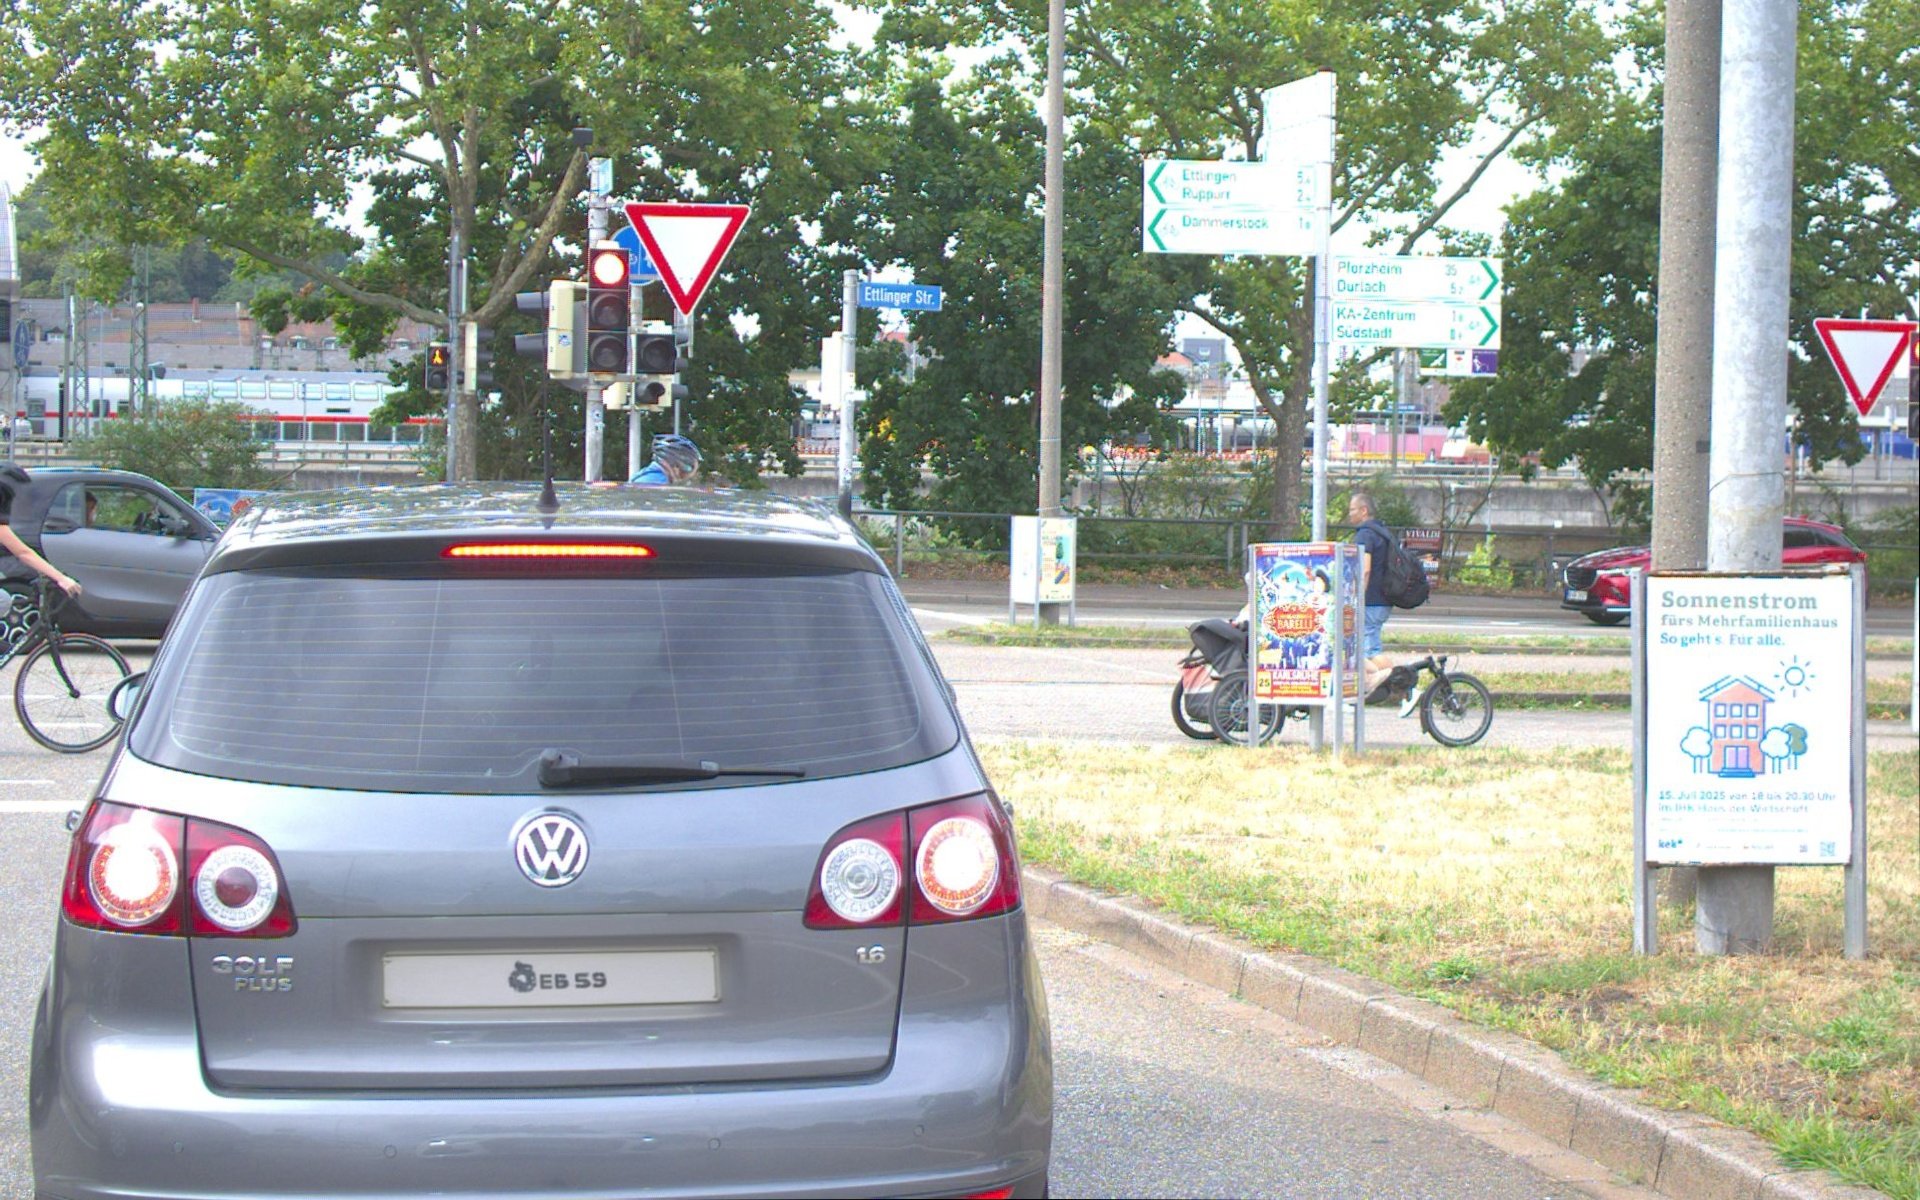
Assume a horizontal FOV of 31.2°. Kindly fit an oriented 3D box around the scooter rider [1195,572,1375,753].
[{"bbox_3d":[2.116,0.399,22.442,0.913,1.133,0.809,0,2,-16],"label":"scooter rider"}]

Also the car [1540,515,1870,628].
[{"bbox_3d":[9.863,-0.384,45.542,3.950,1.443,1.703,0,2,-20],"label":"car"}]

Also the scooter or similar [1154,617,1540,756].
[{"bbox_3d":[2.537,0.559,22.582,2.378,0.846,0.809,0,2,-16],"label":"scooter or similar"}]

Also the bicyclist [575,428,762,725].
[{"bbox_3d":[-1.669,-0.141,19.621,0.880,1.650,0.812,0,2,-19],"label":"bicyclist"}]

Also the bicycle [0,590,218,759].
[{"bbox_3d":[-5.450,0.402,18.914,2.583,0.887,0.705,0,2,-23],"label":"bicycle"}]

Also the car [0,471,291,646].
[{"bbox_3d":[-7.124,-0.352,28.908,2.710,1.417,1.500,0,2,-21],"label":"car"}]

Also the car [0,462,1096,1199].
[{"bbox_3d":[-0.956,0.523,7.232,1.740,1.541,4.083,1,1,-8],"label":"car"}]

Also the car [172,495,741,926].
[{"bbox_3d":[-2.187,0.331,13.948,1.740,1.477,4.083,0,1,-16],"label":"car"}]

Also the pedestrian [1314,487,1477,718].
[{"bbox_3d":[3.347,0.009,26.398,1.048,1.704,0.853,2,2,17],"label":"pedestrian"}]

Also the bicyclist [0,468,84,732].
[{"bbox_3d":[-5.437,-0.011,18.900,1.113,1.431,0.648,0,3,-23],"label":"bicyclist"}]
